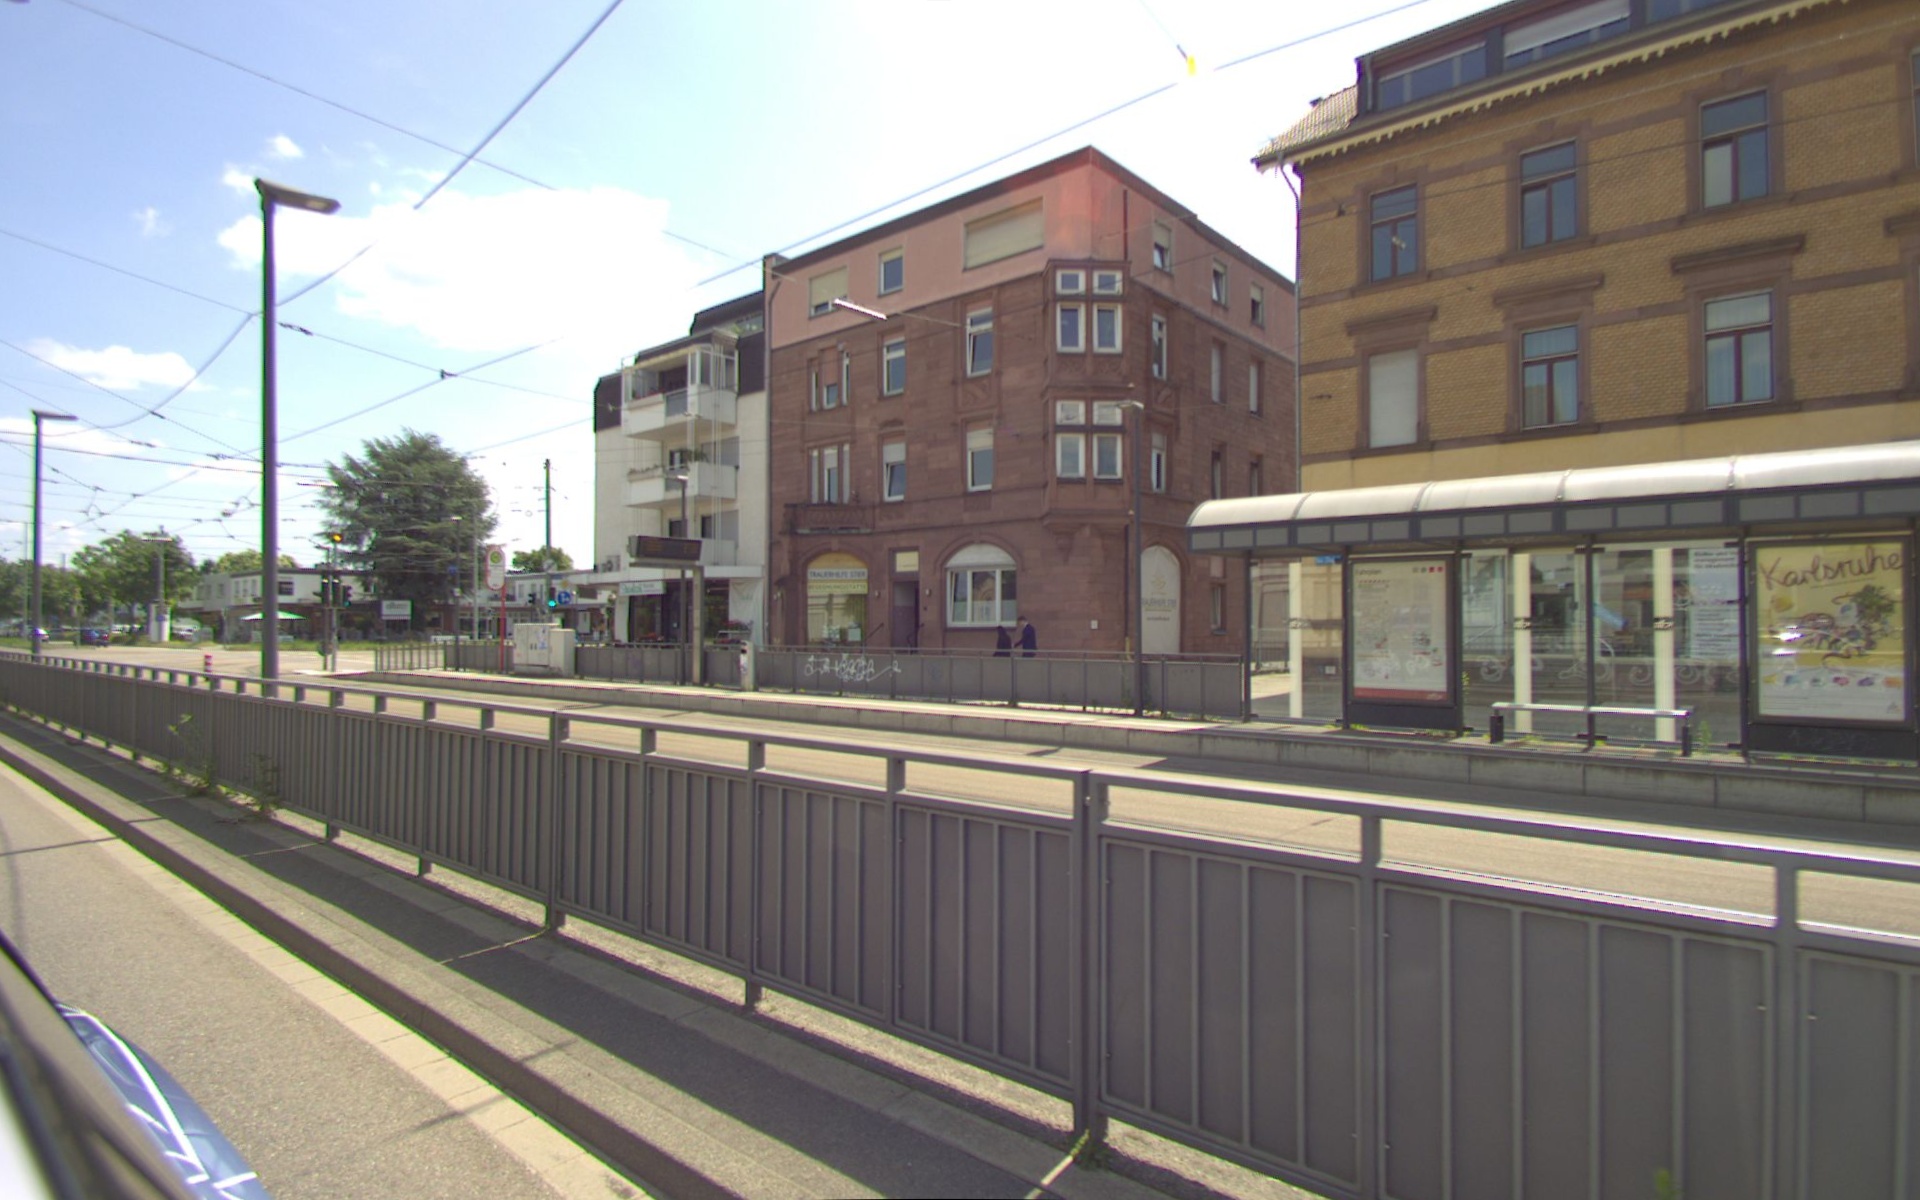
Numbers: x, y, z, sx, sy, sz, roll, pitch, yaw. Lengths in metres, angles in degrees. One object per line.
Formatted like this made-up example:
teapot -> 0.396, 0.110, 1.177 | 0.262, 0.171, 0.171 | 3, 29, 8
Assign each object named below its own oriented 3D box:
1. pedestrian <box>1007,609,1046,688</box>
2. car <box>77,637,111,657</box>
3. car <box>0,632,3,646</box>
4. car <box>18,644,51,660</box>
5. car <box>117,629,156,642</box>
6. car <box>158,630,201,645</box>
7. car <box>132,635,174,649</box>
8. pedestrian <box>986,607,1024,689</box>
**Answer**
pedestrian -> 1.730, 1.264, 26.368 | 0.809, 2.029, 0.611 | -2, -3, 39
car -> -72.916, 3.951, 85.234 | 4.280, 1.696, 1.704 | -2, -3, 44
car -> -152.792, 6.242, 159.734 | 4.485, 2.117, 2.046 | 0, 1, 39
car -> -93.492, 5.270, 102.226 | 4.398, 1.482, 1.973 | -1, -2, 40
car -> -113.627, 4.860, 139.703 | 1.902, 1.749, 3.945 | -1, -2, 41
car -> -136.893, 6.569, 177.497 | 2.257, 2.500, 5.628 | -1, -2, 38
car -> -104.092, 5.431, 130.532 | 1.878, 1.749, 3.945 | -1, -2, 41
pedestrian -> 1.149, 1.205, 25.674 | 0.684, 2.029, 0.670 | 0, 0, 39
